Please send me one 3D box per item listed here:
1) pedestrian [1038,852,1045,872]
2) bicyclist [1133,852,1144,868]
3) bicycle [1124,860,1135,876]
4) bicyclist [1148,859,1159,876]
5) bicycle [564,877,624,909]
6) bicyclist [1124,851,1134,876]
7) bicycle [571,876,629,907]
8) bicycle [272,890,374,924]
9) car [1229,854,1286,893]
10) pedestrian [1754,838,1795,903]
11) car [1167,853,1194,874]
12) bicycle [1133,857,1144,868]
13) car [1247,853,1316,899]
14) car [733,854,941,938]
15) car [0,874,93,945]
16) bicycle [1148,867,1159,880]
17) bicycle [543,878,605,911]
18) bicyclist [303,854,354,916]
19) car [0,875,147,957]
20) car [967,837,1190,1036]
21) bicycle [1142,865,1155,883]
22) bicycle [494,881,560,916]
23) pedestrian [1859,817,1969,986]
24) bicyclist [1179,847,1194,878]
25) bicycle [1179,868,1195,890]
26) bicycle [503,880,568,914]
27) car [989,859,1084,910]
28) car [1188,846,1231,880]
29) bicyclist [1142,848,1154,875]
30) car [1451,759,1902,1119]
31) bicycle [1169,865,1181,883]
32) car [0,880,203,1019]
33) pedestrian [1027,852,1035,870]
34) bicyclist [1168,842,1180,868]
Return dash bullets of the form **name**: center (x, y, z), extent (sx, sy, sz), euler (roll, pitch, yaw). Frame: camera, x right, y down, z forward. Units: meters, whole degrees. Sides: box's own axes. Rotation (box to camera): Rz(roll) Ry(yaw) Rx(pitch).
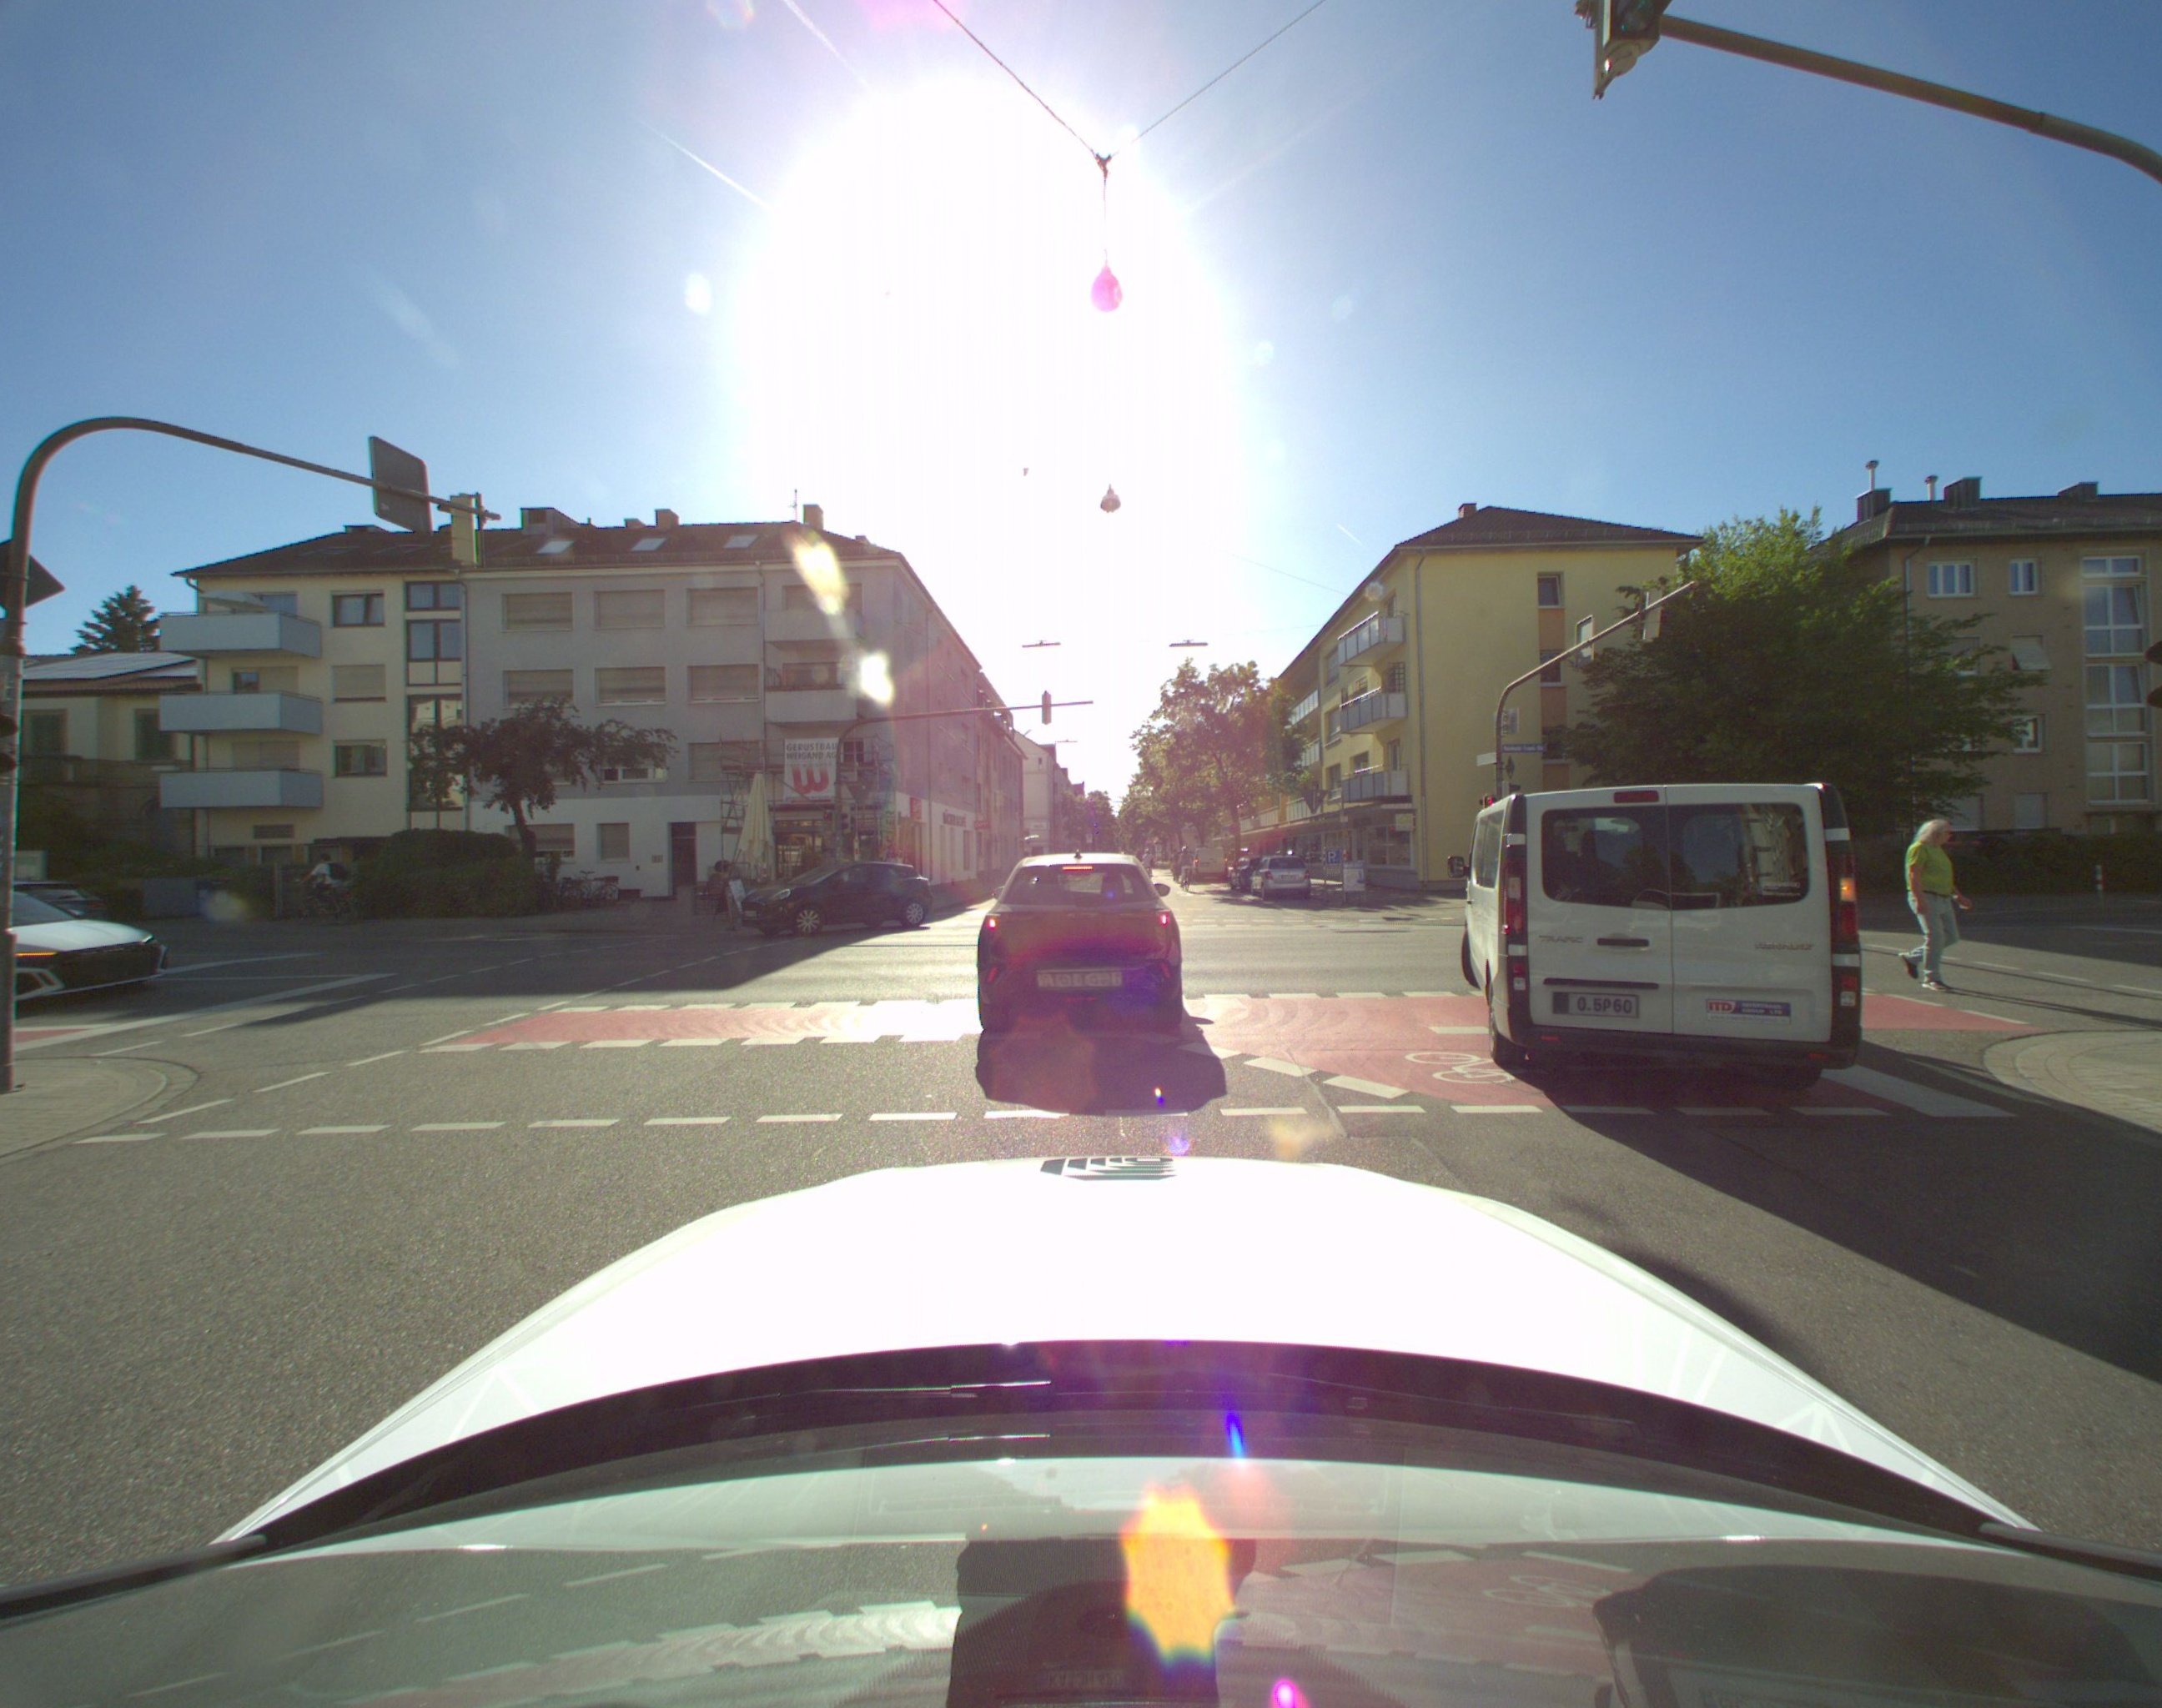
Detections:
- **pedestrian**: center (-3.345, 0.671, 68.659), extent (0.575, 1.583, 0.707), euler (-1, 0, -3)
- **bicyclist**: center (4.845, 0.500, 68.840), extent (0.853, 1.314, 1.211), euler (1, 0, 2)
- **bicycle**: center (3.314, 0.962, 55.845), extent (0.630, 1.041, 1.796), euler (-2, 0, 2)
- **bicyclist**: center (5.070, 0.960, 57.042), extent (0.689, 1.193, 0.595), euler (-1, 0, 3)
- **bicycle**: center (-15.372, 1.237, 25.710), extent (1.581, 0.940, 0.513), euler (-1, 0, 4)
- **bicyclist**: center (3.259, 0.631, 55.678), extent (0.630, 1.669, 1.051), euler (-2, 0, 2)
- **bicycle**: center (-15.559, 1.215, 26.356), extent (1.581, 0.940, 0.513), euler (-1, 0, 4)
- **bicycle**: center (-19.467, 1.359, 20.939), extent (2.117, 0.833, 0.555), euler (0, 0, 1)
- **car**: center (7.170, 0.742, 33.399), extent (1.706, 1.483, 3.383), euler (-1, 0, 3)
- **pedestrian**: center (17.038, 0.398, 20.012), extent (0.537, 1.571, 0.539), euler (-1, 0, 2)
- **car**: center (7.288, 0.699, 59.719), extent (1.706, 1.483, 3.383), euler (-1, 0, 3)
- **bicycle**: center (4.847, 0.706, 69.023), extent (0.853, 0.945, 2.308), euler (1, 0, 2)
- **car**: center (7.055, 0.733, 28.976), extent (1.706, 1.483, 3.482), euler (-1, 0, 3)
- **car**: center (-5.178, 0.829, 17.757), extent (1.576, 1.566, 4.115), euler (-3, -1, 40)
- **car**: center (-26.350, 1.314, 19.117), extent (3.972, 1.519, 1.917), euler (-1, 1, 1)
- **bicycle**: center (5.066, 1.371, 56.862), extent (0.688, 0.866, 1.878), euler (-1, 0, 3)
- **bicycle**: center (-15.457, 1.231, 24.827), extent (1.581, 0.940, 0.513), euler (-1, 0, 4)
- **bicyclist**: center (-19.362, 0.790, 20.965), extent (0.809, 1.549, 0.555), euler (0, 0, 1)
- **car**: center (-21.283, 1.197, 15.810), extent (4.149, 1.433, 1.843), euler (-1, 0, 0)
- **car**: center (0.050, 0.671, 8.513), extent (1.755, 1.558, 4.002), euler (-1, 0, 2)
- **bicycle**: center (3.486, 1.004, 42.143), extent (0.617, 0.866, 1.878), euler (-1, 0, 3)
- **bicycle**: center (-15.959, 1.268, 23.465), extent (1.581, 0.940, 0.513), euler (-1, 0, 4)
- **pedestrian**: center (9.042, 0.499, 8.861), extent (0.523, 1.762, 0.623), euler (-1, 0, 0)
- **bicyclist**: center (4.418, 0.342, 34.152), extent (0.544, 1.262, 0.803), euler (-1, 0, 3)
- **bicycle**: center (4.442, 1.045, 34.262), extent (0.544, 0.866, 1.878), euler (-1, 0, 3)
- **bicycle**: center (-16.120, 1.262, 24.089), extent (1.581, 0.940, 0.513), euler (-1, 0, 4)
- **car**: center (-1.367, 0.941, 27.051), extent (1.791, 1.413, 4.444), euler (-3, 0, 15)
- **car**: center (7.450, 0.492, 47.541), extent (2.037, 1.846, 4.588), euler (-1, 0, 3)
- **bicyclist**: center (3.480, 0.373, 42.206), extent (0.586, 1.382, 0.823), euler (-1, 0, 3)
- **car**: center (4.434, 0.468, 7.098), extent (1.951, 1.940, 5.082), euler (0, 0, 21)
- **bicycle**: center (5.079, 1.073, 44.082), extent (0.544, 0.866, 1.878), euler (-1, 0, 3)
- **car**: center (-14.501, 1.163, 10.534), extent (4.235, 1.435, 1.937), euler (-1, 3, 4)
- **pedestrian**: center (-4.217, 0.587, 68.643), extent (0.575, 1.467, 0.702), euler (-1, 0, -3)
- **bicyclist**: center (5.034, 0.040, 44.004), extent (0.544, 1.382, 0.823), euler (-1, 0, 3)
